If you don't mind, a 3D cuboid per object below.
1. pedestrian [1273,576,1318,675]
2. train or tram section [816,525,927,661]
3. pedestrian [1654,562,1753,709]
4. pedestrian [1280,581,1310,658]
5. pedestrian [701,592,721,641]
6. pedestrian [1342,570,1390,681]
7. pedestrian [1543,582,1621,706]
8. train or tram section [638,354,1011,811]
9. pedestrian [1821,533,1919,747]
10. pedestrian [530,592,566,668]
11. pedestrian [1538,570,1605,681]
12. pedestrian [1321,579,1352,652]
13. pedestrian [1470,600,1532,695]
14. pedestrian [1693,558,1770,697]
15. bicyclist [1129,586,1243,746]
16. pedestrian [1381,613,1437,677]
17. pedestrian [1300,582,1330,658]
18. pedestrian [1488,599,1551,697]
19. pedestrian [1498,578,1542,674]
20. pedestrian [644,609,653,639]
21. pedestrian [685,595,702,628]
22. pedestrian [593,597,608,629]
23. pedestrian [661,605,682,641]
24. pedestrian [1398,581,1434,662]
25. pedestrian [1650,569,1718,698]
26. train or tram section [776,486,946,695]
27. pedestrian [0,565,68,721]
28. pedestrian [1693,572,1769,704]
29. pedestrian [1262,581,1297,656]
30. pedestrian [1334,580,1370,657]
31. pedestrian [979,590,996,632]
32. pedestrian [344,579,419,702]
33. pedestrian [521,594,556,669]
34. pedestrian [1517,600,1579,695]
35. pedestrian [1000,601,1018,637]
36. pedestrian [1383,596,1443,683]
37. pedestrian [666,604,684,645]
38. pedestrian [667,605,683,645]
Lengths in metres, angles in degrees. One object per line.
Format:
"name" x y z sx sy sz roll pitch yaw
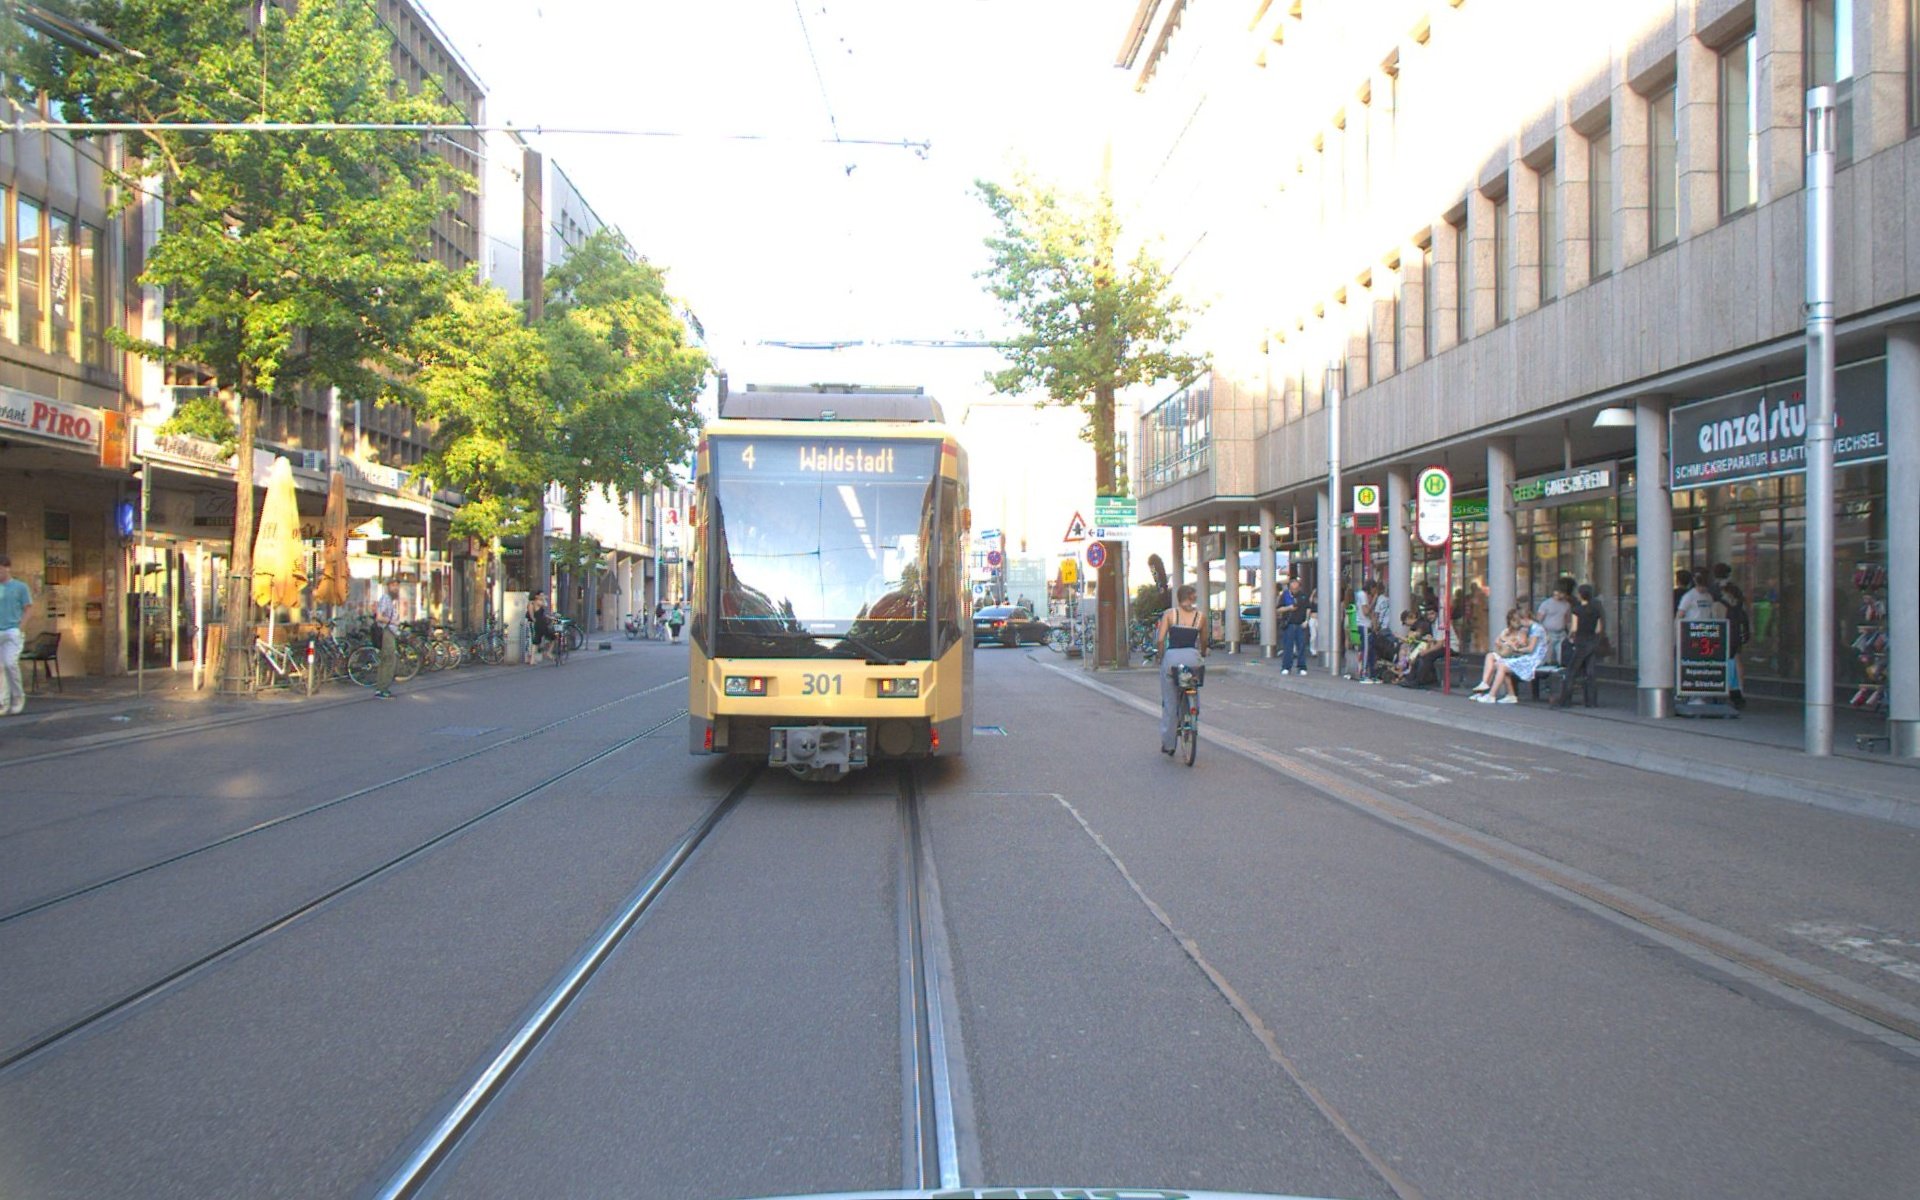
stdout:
"pedestrian" 6.400 0.482 31.571 0.655 1.872 0.708 -1 -1 -3
"train or tram section" -2.514 -0.190 48.543 2.744 3.377 14.501 0 0 -2
"pedestrian" 9.473 0.445 21.105 0.827 1.829 0.858 -1 -1 -2
"pedestrian" 8.139 0.472 40.187 0.528 1.838 0.604 -1 0 -3
"pedestrian" -9.970 0.660 66.166 0.759 1.960 0.708 0 -1 -10
"pedestrian" 7.028 0.438 28.633 0.626 1.872 0.667 -1 -1 -1
"pedestrian" 8.215 0.568 21.873 0.709 1.597 0.736 -1 -1 0
"train or tram section" -1.304 -0.150 19.543 2.744 3.377 14.501 0 0 -2
"pedestrian" 8.670 0.372 15.722 0.566 1.978 0.655 -1 -1 -2
"pedestrian" -9.511 0.685 38.221 0.589 1.729 0.535 1 0 27
"pedestrian" 10.149 0.422 27.476 0.757 1.803 0.773 -1 -1 -3
"pedestrian" 9.956 0.410 43.776 0.649 1.881 0.719 -1 -1 3
"pedestrian" 7.679 0.668 23.507 0.703 1.337 0.532 0 -1 -1
"pedestrian" 10.892 0.379 23.370 0.673 1.916 0.773 -1 0 -3
"bicyclist" 2.242 0.641 16.526 0.977 1.528 0.857 1 0 -2
"pedestrian" 7.566 0.758 27.881 0.796 1.061 0.544 0 -1 -1
"pedestrian" 8.668 0.477 40.382 0.528 1.838 0.604 -1 0 -3
"pedestrian" 7.766 0.664 22.970 0.703 1.337 0.524 0 -1 -1
"pedestrian" 10.455 0.476 30.904 0.559 1.762 0.617 -1 0 -3
"pedestrian" -16.856 1.302 89.530 0.499 1.574 0.516 0 -1 -10
"pedestrian" -13.328 0.572 82.595 0.623 1.616 0.595 1 -2 -45
"pedestrian" -19.969 0.722 91.771 0.699 1.756 0.709 0 -1 -4
"pedestrian" -11.714 0.935 67.166 0.544 1.459 0.682 -1 -1 36
"pedestrian" 10.078 0.478 36.558 0.559 1.762 0.617 -1 0 -3
"pedestrian" 10.239 0.467 23.410 0.570 1.783 0.773 -1 0 -3
"train or tram section" -1.906 -0.172 34.064 2.744 3.377 14.501 0 0 -2
"pedestrian" -11.386 0.498 19.877 0.670 1.824 0.991 2 -1 4
"pedestrian" 10.100 0.493 21.687 0.635 1.690 0.680 -1 0 -1
"pedestrian" 8.067 0.460 41.814 0.655 1.872 0.879 -1 -1 -2
"pedestrian" 9.431 0.434 39.794 0.649 1.818 0.719 -1 -1 -2
"pedestrian" 1.163 0.468 70.167 0.703 1.756 0.709 0 -1 -2
"pedestrian" -8.784 0.606 25.090 0.814 1.824 0.977 0 -1 -39
"pedestrian" -9.851 0.728 38.680 0.589 1.729 0.535 1 0 27
"pedestrian" 8.400 0.675 23.647 0.703 1.337 0.532 0 -1 -1
"pedestrian" 2.560 1.001 86.118 0.722 1.855 0.816 0 0 -17
"pedestrian" 7.406 0.638 27.048 0.796 1.405 0.662 0 -1 -1
"pedestrian" -11.066 0.941 64.202 0.672 1.569 0.604 0 -1 -11
"pedestrian" -10.960 0.959 63.515 0.592 1.520 0.554 0 -1 -10
